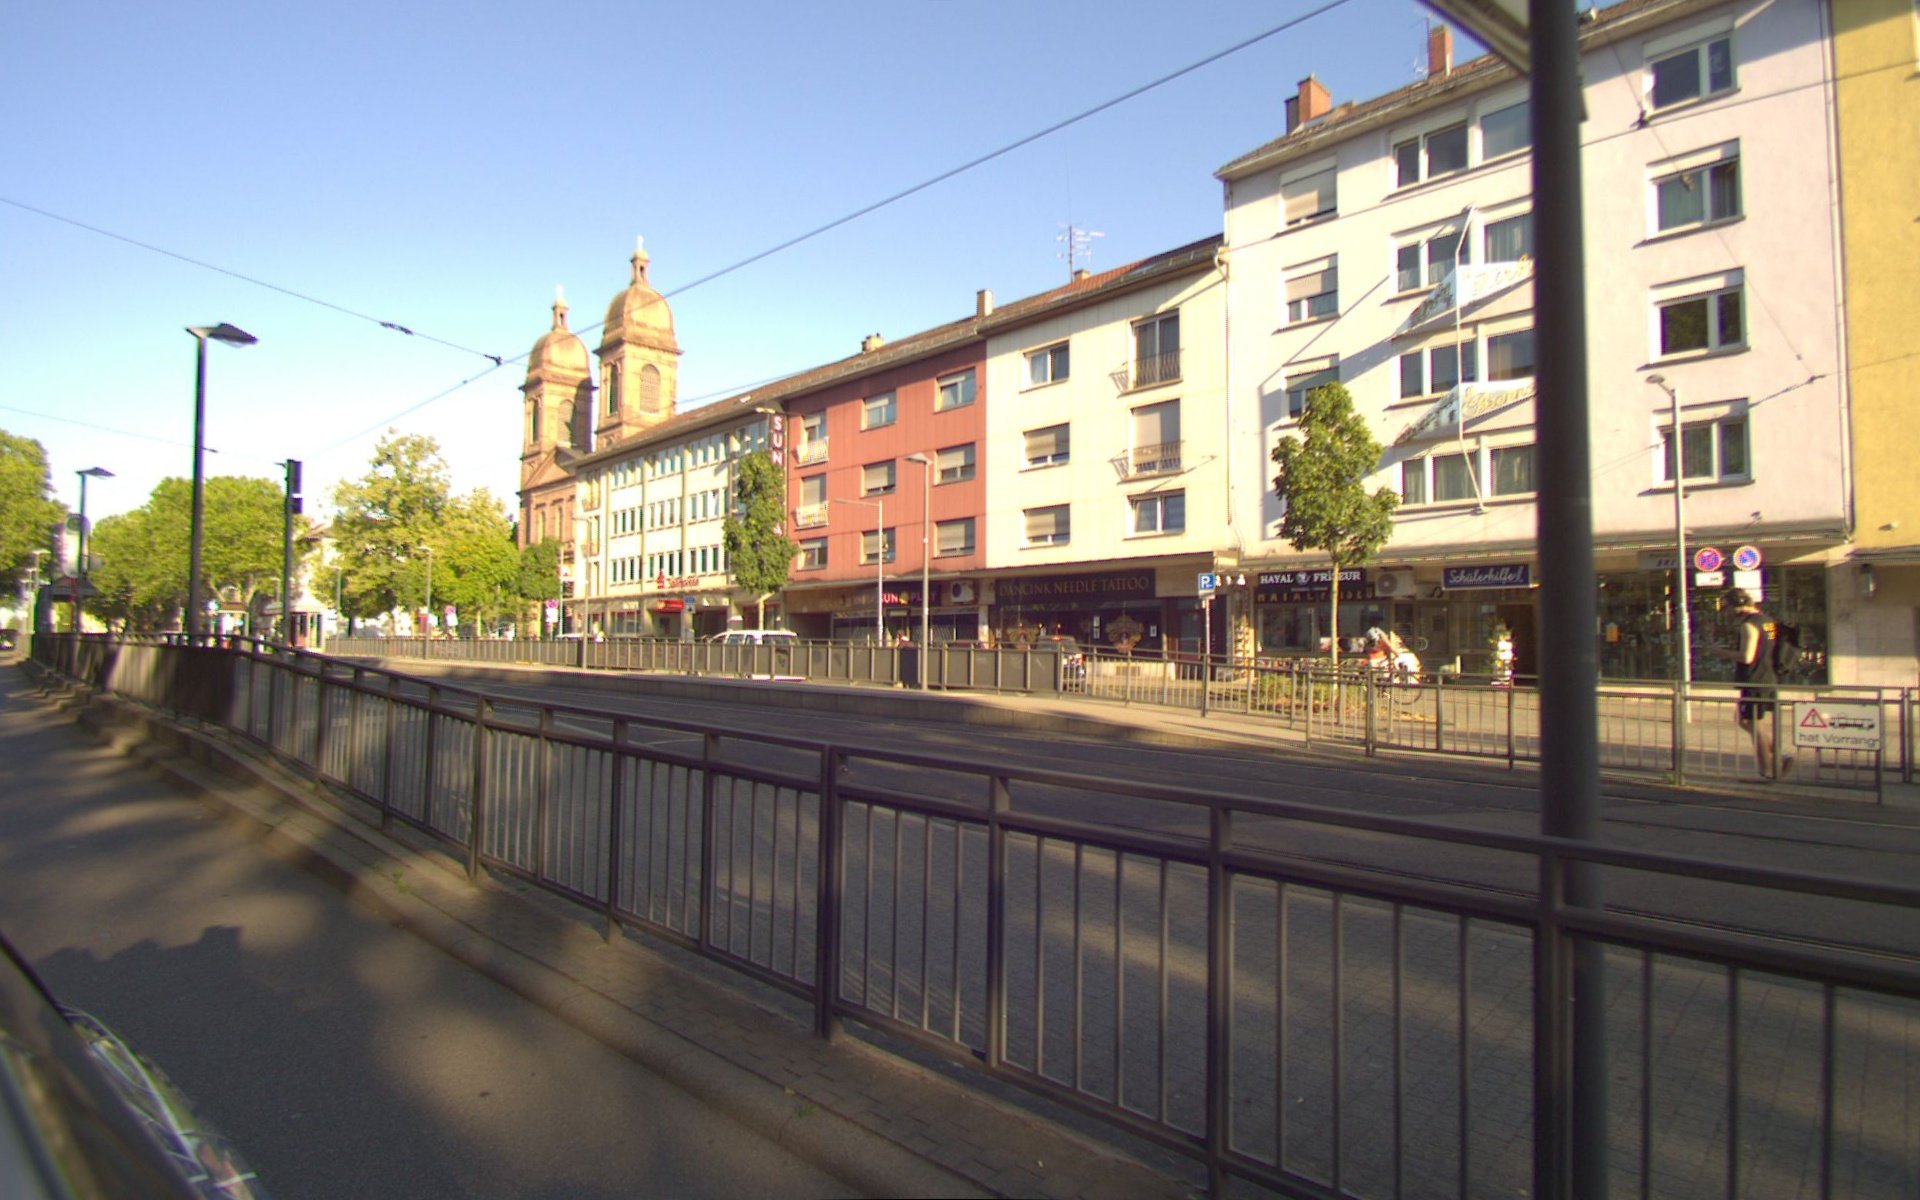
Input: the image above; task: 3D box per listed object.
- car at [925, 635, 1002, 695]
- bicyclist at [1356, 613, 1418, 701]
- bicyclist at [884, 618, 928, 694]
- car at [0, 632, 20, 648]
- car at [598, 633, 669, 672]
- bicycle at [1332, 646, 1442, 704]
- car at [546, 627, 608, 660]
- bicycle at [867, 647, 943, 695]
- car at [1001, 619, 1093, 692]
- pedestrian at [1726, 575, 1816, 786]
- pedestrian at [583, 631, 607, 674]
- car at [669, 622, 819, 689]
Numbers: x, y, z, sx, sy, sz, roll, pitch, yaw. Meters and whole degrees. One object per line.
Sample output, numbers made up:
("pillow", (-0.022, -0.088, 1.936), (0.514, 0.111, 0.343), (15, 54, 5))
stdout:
("car", (0.038, 1.885, 30.200), (1.835, 1.502, 3.775), (-1, 0, -7))
("bicyclist", (9.482, 1.249, 22.487), (0.683, 1.901, 1.060), (2, -3, -36))
("bicyclist", (-1.472, 1.519, 27.584), (0.911, 2.029, 0.755), (-2, -4, 44))
("car", (-89.799, 3.794, 95.176), (3.998, 1.408, 1.696), (-1, -1, 41))
("car", (-14.445, 2.290, 44.960), (1.844, 1.541, 3.999), (-1, 0, 0))
("bicycle", (9.457, 1.633, 22.516), (0.696, 1.168, 2.203), (2, -2, -36))
("car", (-19.007, 2.125, 50.365), (1.718, 1.497, 4.002), (-1, 0, -2))
("bicycle", (-1.511, 1.914, 27.603), (2.279, 1.239, 0.709), (-2, -4, 45))
("car", (2.386, 1.518, 28.743), (1.835, 1.813, 3.775), (-1, 0, -7))
("pedestrian", (7.575, 0.729, 9.460), (0.589, 1.863, 0.734), (-2, -3, 40))
("pedestrian", (-15.735, 2.264, 43.640), (0.758, 1.801, 0.724), (-1, -1, 3))
("car", (-6.144, 1.525, 28.524), (4.437, 1.730, 1.971), (-2, -3, 44))
